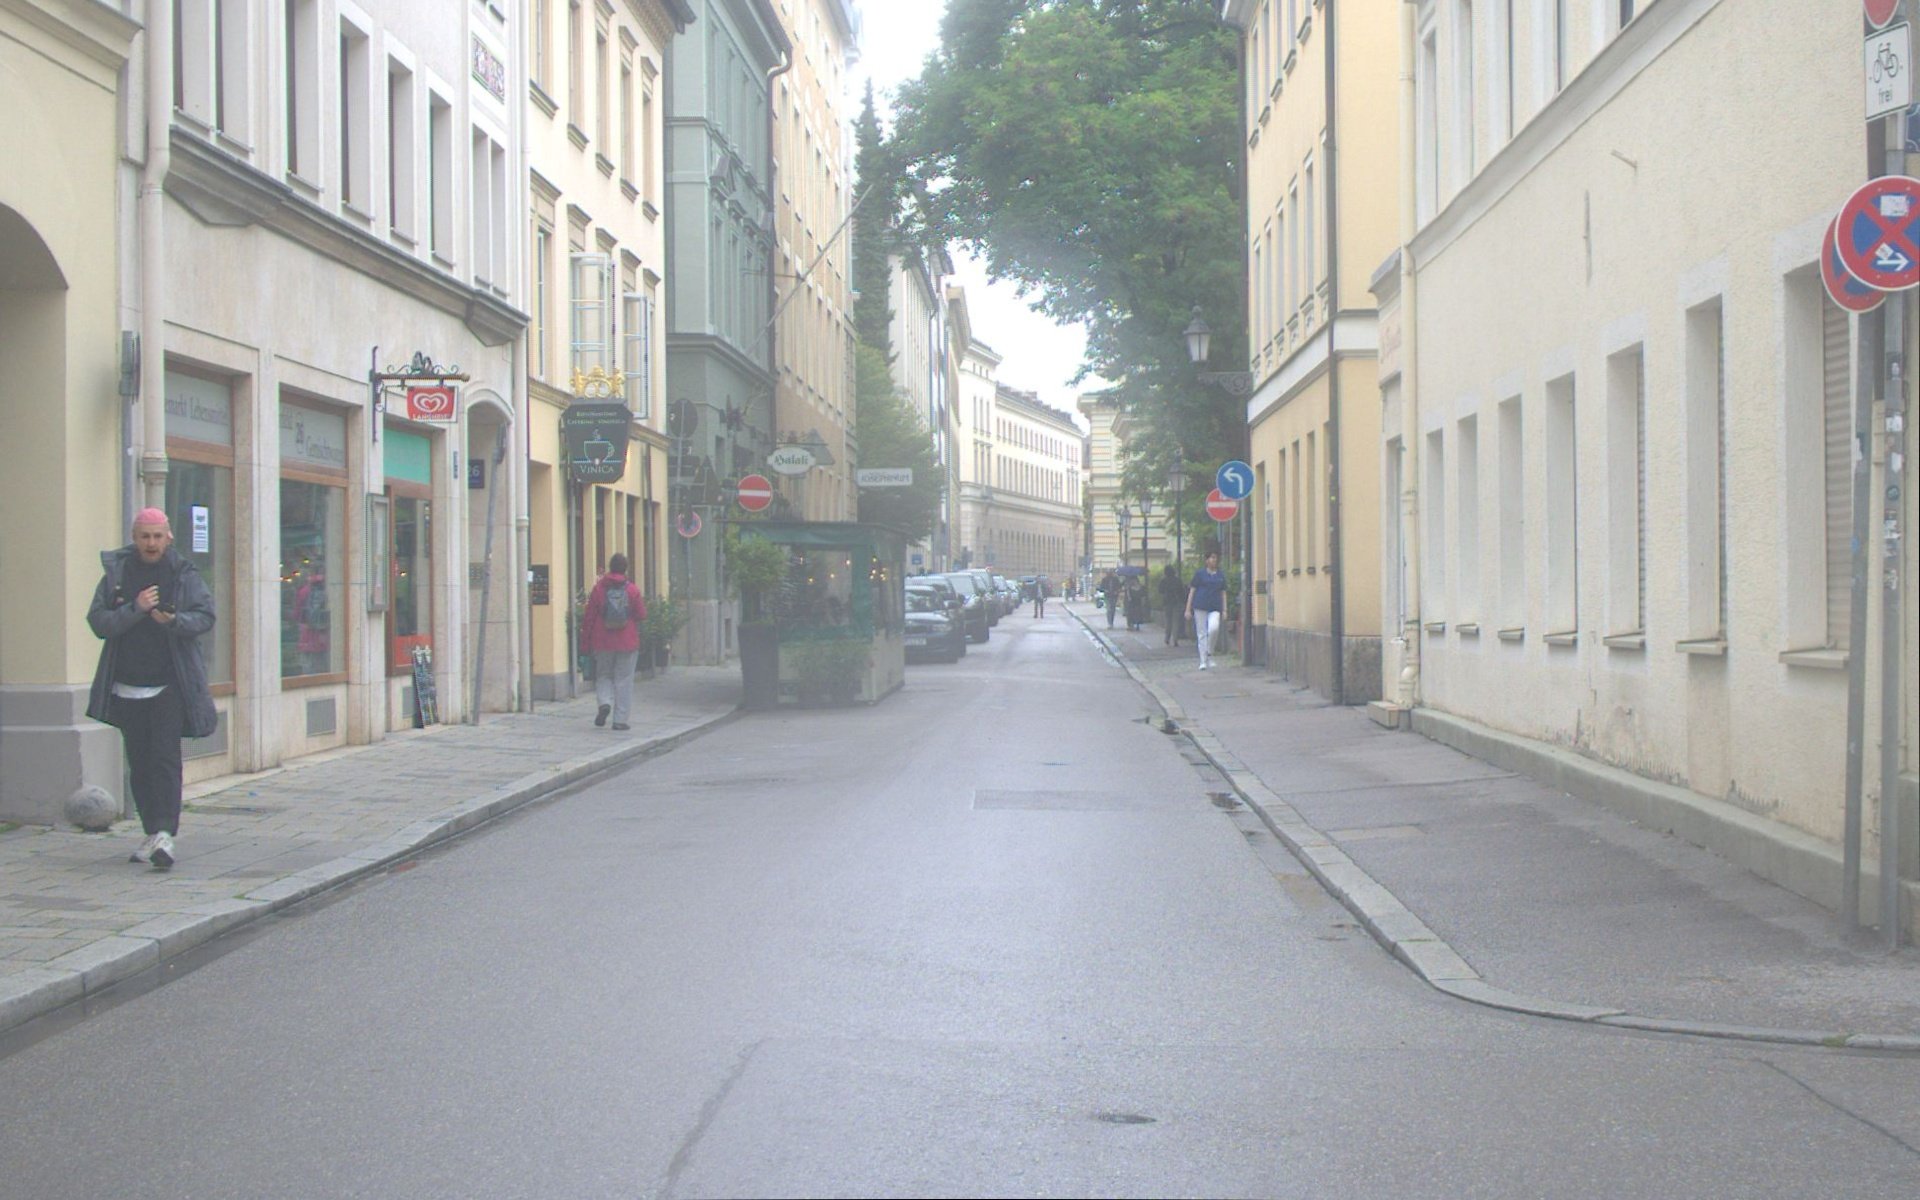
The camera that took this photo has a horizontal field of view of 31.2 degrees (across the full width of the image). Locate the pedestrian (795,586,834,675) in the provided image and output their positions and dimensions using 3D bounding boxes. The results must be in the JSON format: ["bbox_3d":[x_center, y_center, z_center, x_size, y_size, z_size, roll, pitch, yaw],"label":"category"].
[{"bbox_3d":[-2.036,0.418,48.252,0.509,1.233,0.631,0,0,0],"label":"pedestrian"}]

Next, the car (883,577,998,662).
[{"bbox_3d":[-0.320,0.330,62.283,1.780,1.461,3.662,0,0,4],"label":"car"}]

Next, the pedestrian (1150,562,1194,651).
[{"bbox_3d":[4.364,0.129,70.865,0.880,1.796,1.046,0,0,2],"label":"pedestrian"}]

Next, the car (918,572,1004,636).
[{"bbox_3d":[0.037,0.077,81.920,1.780,1.461,3.541,0,0,4],"label":"car"}]

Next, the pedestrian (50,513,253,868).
[{"bbox_3d":[-4.111,0.439,17.547,0.809,1.749,0.990,0,2,-1],"label":"pedestrian"}]

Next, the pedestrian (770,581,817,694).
[{"bbox_3d":[-1.976,0.438,40.825,0.509,1.322,0.631,0,0,0],"label":"pedestrian"}]

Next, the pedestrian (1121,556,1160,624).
[{"bbox_3d":[4.808,-0.277,91.887,1.015,1.796,1.349,0,0,2],"label":"pedestrian"}]

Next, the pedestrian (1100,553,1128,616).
[{"bbox_3d":[4.404,-0.440,98.372,0.793,1.796,0.903,0,0,2],"label":"pedestrian"}]

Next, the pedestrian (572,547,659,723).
[{"bbox_3d":[-3.389,0.334,33.855,0.766,1.702,0.785,-1,0,-1],"label":"pedestrian"}]

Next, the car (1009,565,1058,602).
[{"bbox_3d":[2.969,-0.659,138.994,1.780,1.461,3.541,0,0,4],"label":"car"}]

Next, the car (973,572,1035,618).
[{"bbox_3d":[1.459,-0.181,111.615,1.780,1.461,3.541,0,0,4],"label":"car"}]
